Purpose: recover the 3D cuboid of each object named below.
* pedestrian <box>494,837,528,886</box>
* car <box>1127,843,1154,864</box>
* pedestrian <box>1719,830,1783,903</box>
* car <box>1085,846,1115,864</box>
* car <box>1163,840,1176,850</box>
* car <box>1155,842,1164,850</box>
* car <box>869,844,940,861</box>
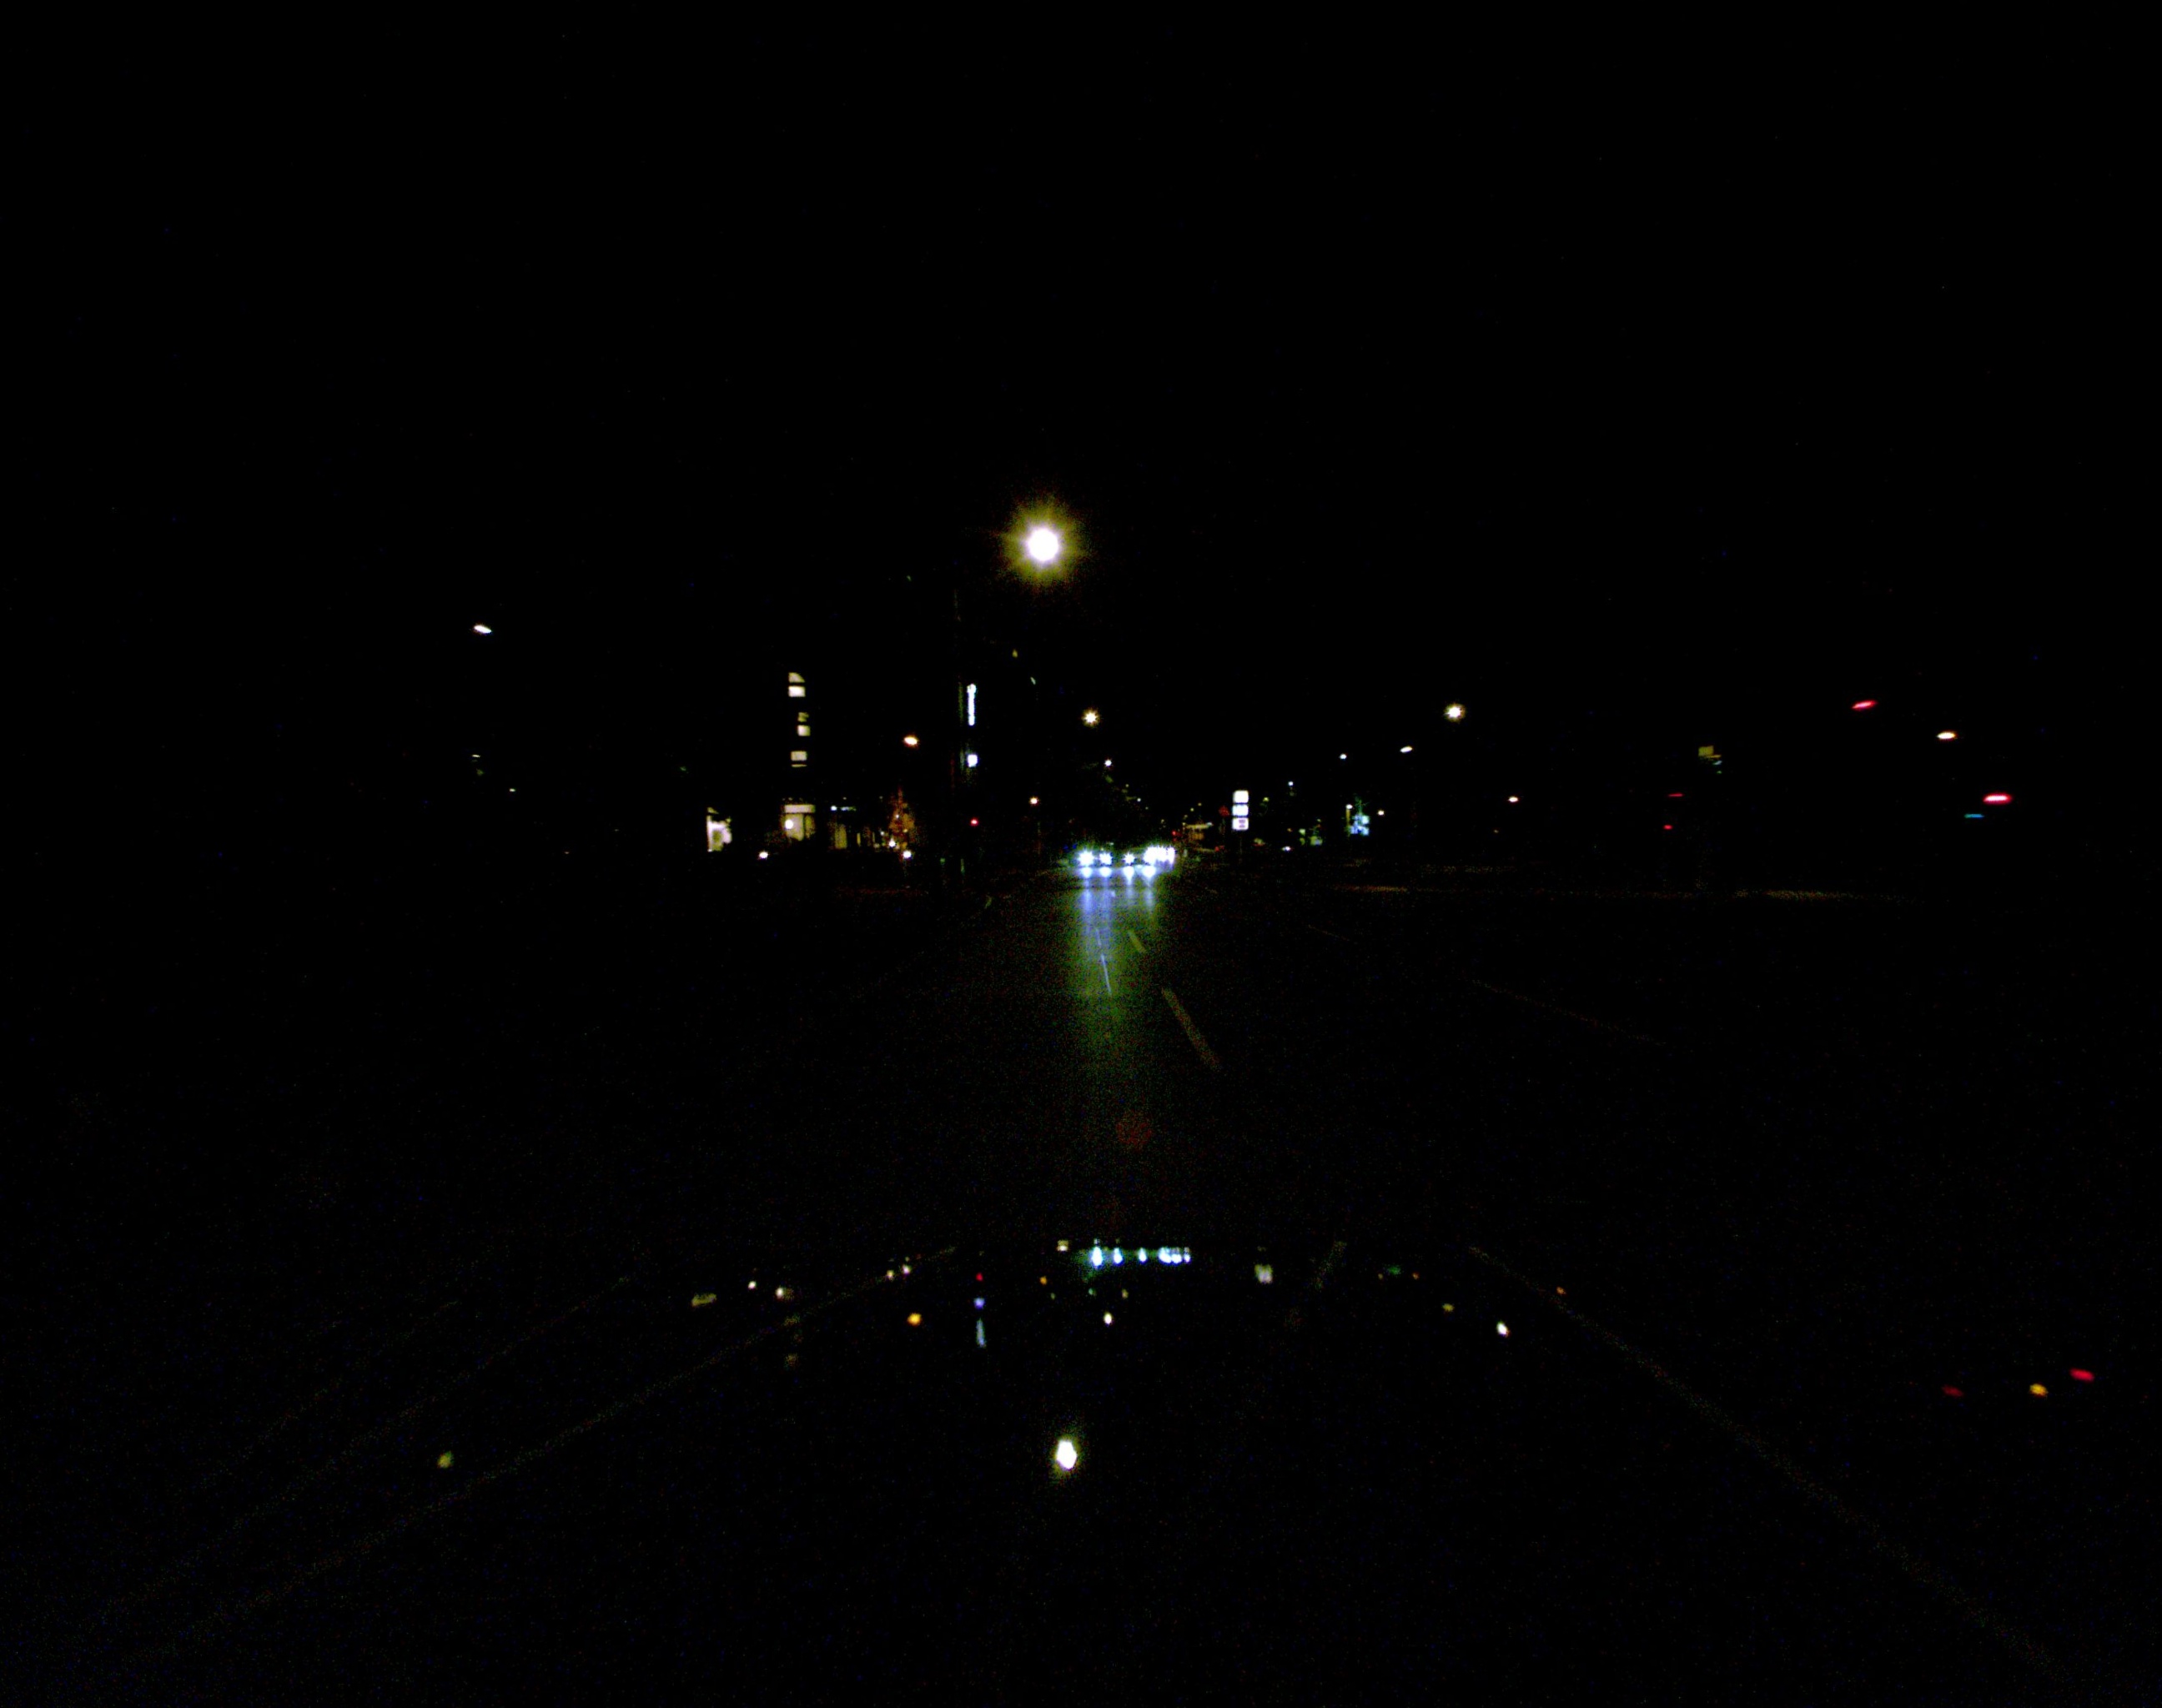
[{"bbox_3d":[-22.266,0.272,29.695,0.664,1.866,0.731,-2,2,-1],"label":"pedestrian"},{"bbox_3d":[4.614,-0.043,58.737,1.858,1.482,3.561,-1,0,8],"label":"car"},{"bbox_3d":[16.005,0.272,18.169,1.053,1.678,0.822,1,1,37],"label":"pedestrian"},{"bbox_3d":[1.518,0.057,60.300,1.947,1.299,3.907,1,1,8],"label":"car"},{"bbox_3d":[14.615,-1.471,125.738,1.907,1.609,3.719,-1,1,3],"label":"car"},{"bbox_3d":[16.897,-1.670,163.686,1.827,1.696,4.001,-1,1,6],"label":"car"},{"bbox_3d":[-10.776,-0.083,46.576,4.008,1.028,1.480,0,0,-39],"label":"car"}]
